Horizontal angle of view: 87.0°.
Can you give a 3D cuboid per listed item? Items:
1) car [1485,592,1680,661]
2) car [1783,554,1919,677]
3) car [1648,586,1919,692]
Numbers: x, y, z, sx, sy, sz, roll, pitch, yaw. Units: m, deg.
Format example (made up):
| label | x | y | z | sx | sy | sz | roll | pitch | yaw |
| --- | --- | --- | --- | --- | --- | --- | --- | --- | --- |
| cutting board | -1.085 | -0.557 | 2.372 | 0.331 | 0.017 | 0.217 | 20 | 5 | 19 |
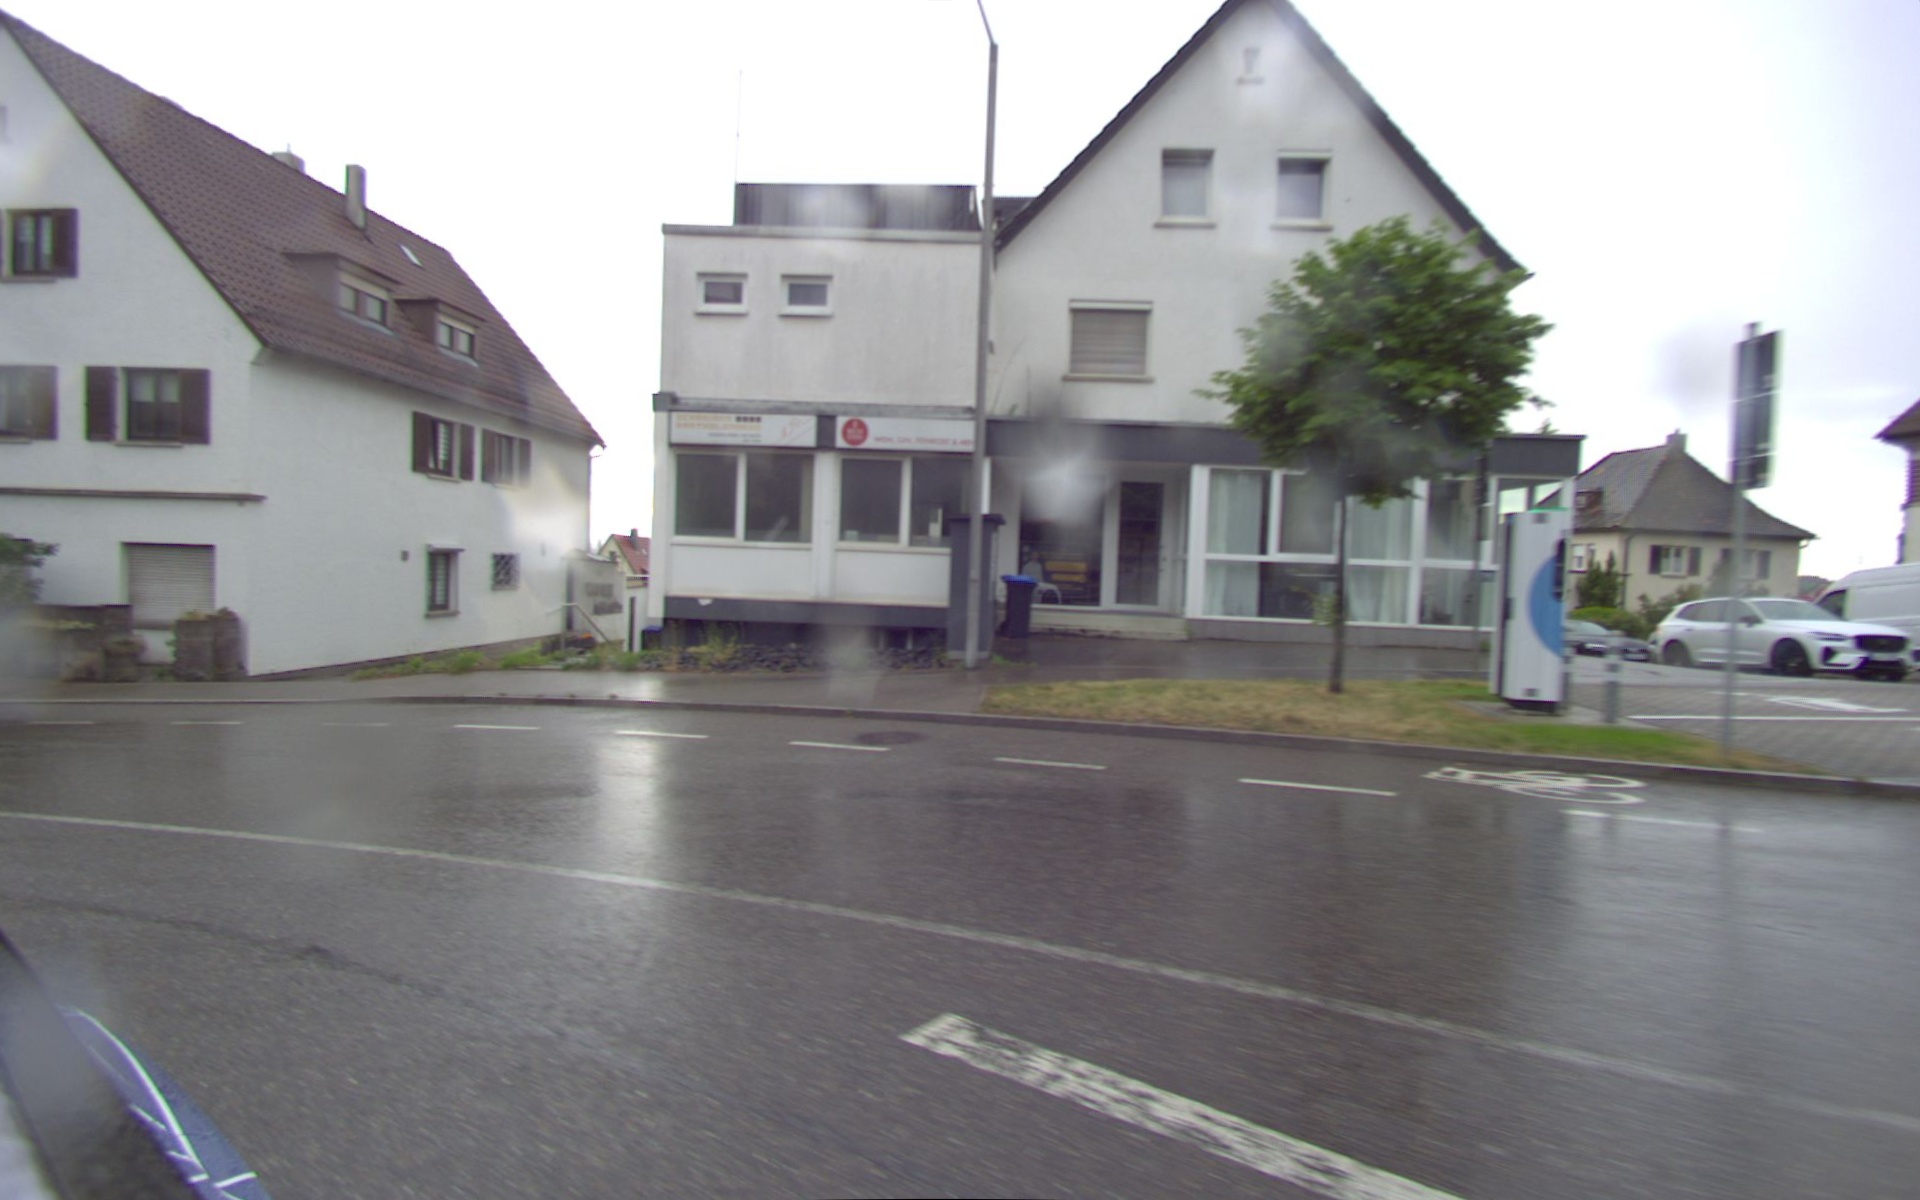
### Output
| label | x | y | z | sx | sy | sz | roll | pitch | yaw |
| --- | --- | --- | --- | --- | --- | --- | --- | --- | --- |
| car | 15.070 | 0.616 | 24.849 | 2.039 | 1.521 | 4.480 | 0 | -1 | 1 |
| car | 20.825 | 0.325 | 20.971 | 2.159 | 2.542 | 6.258 | 0 | -1 | -3 |
| car | 15.487 | 0.666 | 18.885 | 2.039 | 1.719 | 4.792 | 0 | -1 | 1 |
